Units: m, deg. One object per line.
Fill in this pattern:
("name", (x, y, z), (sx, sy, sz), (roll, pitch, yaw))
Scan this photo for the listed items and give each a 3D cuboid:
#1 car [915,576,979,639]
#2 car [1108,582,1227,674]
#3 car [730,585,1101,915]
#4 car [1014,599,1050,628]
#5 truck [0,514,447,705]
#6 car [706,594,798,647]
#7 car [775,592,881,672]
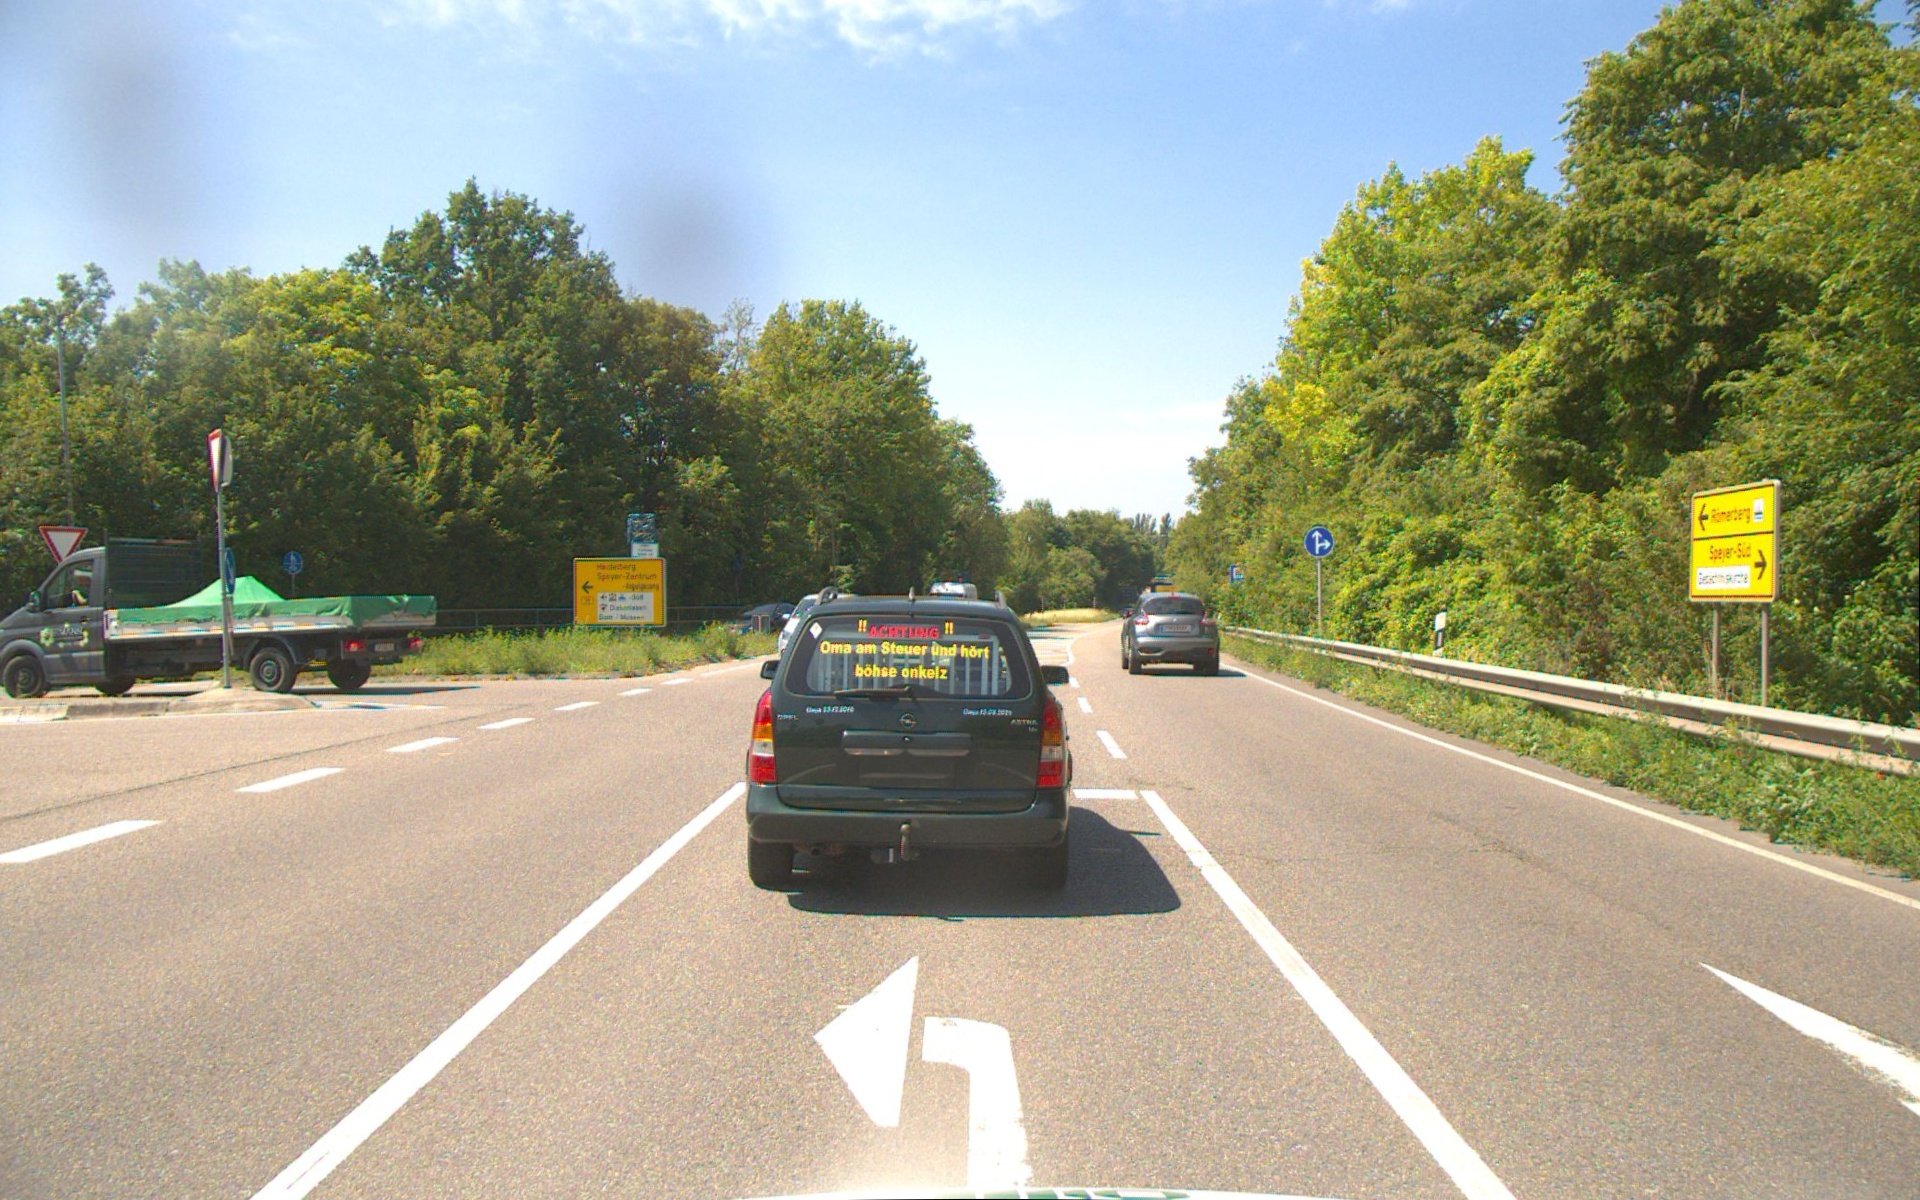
("car", (-0.568, 0.355, 79.477), (2.060, 2.900, 6.017), (0, 0, 10))
("car", (4.083, 0.501, 33.100), (1.806, 1.714, 3.999), (0, 1, -1))
("car", (-0.206, 0.667, 9.441), (1.685, 1.482, 3.797), (0, 1, 0))
("car", (8.120, 1.506, 187.380), (1.970, 3.282, 4.767), (0, 0, -27))
("truck", (-11.319, 0.188, 25.260), (6.476, 2.610, 2.147), (-2, -1, 15))
("car", (-7.000, 0.671, 55.976), (1.636, 1.691, 4.003), (-1, 0, 16))
("car", (-2.503, 0.576, 32.038), (1.610, 1.443, 3.767), (0, 0, 2))
